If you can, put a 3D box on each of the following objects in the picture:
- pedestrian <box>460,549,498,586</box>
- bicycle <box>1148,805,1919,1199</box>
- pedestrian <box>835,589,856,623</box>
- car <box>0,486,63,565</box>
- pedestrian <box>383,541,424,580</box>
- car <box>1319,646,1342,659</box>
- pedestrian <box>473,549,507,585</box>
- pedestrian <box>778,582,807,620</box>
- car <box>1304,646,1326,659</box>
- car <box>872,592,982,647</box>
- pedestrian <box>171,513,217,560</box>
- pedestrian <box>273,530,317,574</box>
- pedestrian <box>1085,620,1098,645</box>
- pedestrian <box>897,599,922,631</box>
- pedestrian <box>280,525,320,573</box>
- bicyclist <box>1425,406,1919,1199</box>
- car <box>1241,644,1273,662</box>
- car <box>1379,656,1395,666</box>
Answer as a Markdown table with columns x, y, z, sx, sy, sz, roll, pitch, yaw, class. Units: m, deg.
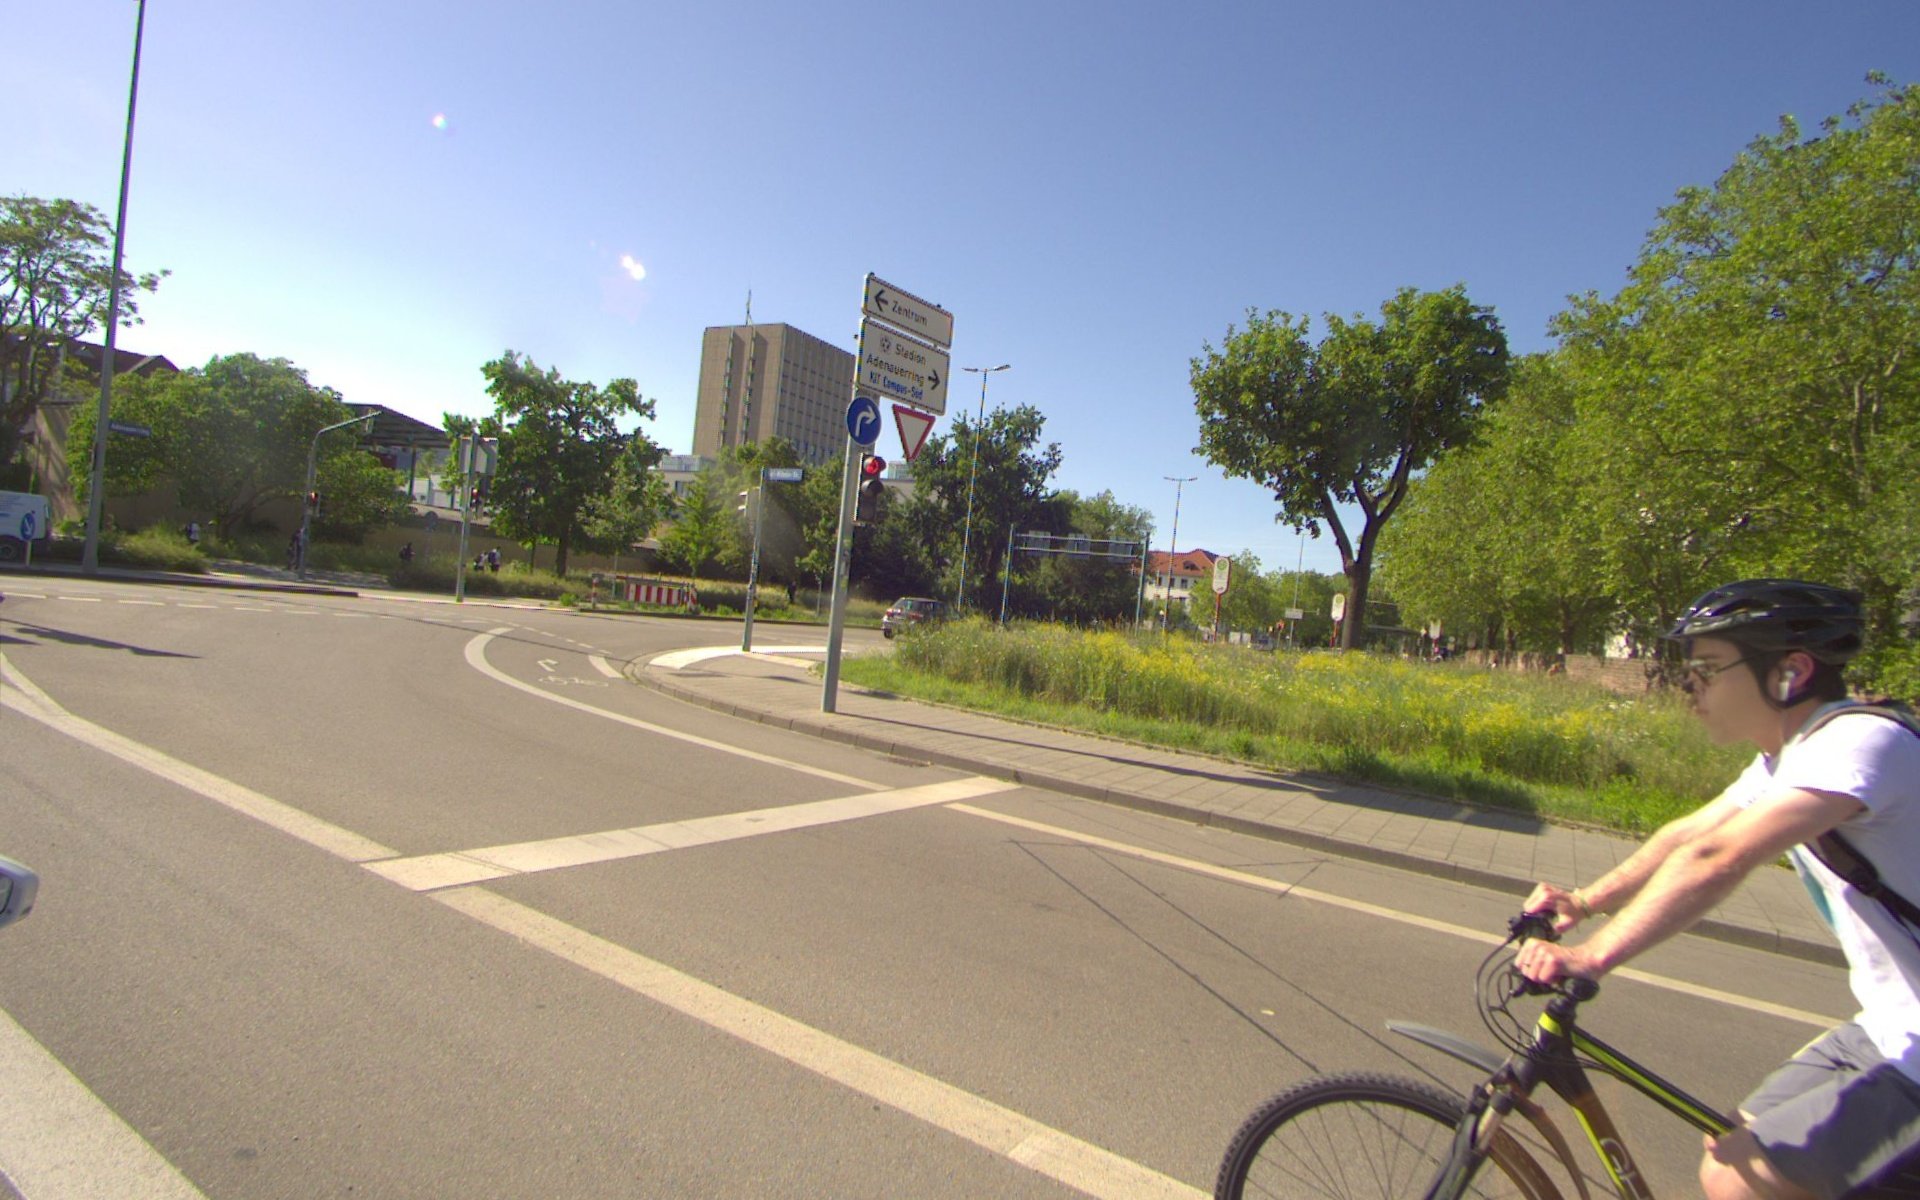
| x | y | z | sx | sy | sz | roll | pitch | yaw | class |
| --- | --- | --- | --- | --- | --- | --- | --- | --- | --- |
| -22.303 | -1.494 | 46.672 | 0.975 | 1.540 | 1.129 | 7 | 1 | 35 | pedestrian |
| 1.286 | 1.130 | 1.705 | 1.795 | 1.152 | 0.616 | 7 | 0 | 30 | bicycle |
| -7.676 | 0.409 | 67.435 | 0.800 | 2.106 | 0.896 | 7 | 1 | 35 | pedestrian |
| -27.916 | -2.288 | 27.344 | 2.043 | 2.038 | 4.991 | 7 | 0 | 41 | car |
| -23.927 | -1.692 | 43.237 | 0.927 | 1.540 | 1.145 | 7 | 1 | 38 | pedestrian |
| 47.044 | 6.676 | 127.646 | 1.967 | 1.378 | 4.001 | 7 | 0 | 31 | car |
| -21.618 | -1.519 | 46.249 | 0.871 | 1.540 | 0.971 | 7 | 1 | 35 | pedestrian |
| -10.151 | 0.061 | 61.005 | 0.966 | 2.106 | 1.186 | 7 | 1 | 35 | pedestrian |
| 47.707 | 7.045 | 135.127 | 1.967 | 1.378 | 4.001 | 7 | 0 | 31 | car |
| -1.076 | 0.712 | 34.656 | 1.714 | 1.535 | 3.991 | 7 | 0 | 32 | car |
| -28.338 | -2.346 | 37.219 | 0.917 | 1.540 | 1.083 | 7 | 1 | 41 | pedestrian |
| -25.631 | -1.842 | 38.752 | 0.865 | 1.540 | 1.074 | 7 | 1 | 36 | pedestrian |
| 12.208 | 3.035 | 93.400 | 0.633 | 2.194 | 0.912 | 7 | 1 | 35 | pedestrian |
| -3.643 | 1.073 | 72.417 | 1.065 | 2.106 | 1.231 | 7 | 1 | 35 | pedestrian |
| -26.582 | -2.058 | 40.521 | 0.911 | 1.754 | 0.963 | 7 | 1 | 36 | pedestrian |
| 1.349 | 0.661 | 1.672 | 0.924 | 1.806 | 0.678 | 6 | -1 | 30 | bicyclist |
| 31.703 | 5.666 | 107.296 | 1.882 | 1.625 | 4.124 | 7 | 0 | 37 | car |
| 72.820 | 10.477 | 171.584 | 1.967 | 1.378 | 4.001 | 7 | 0 | 31 | car |
